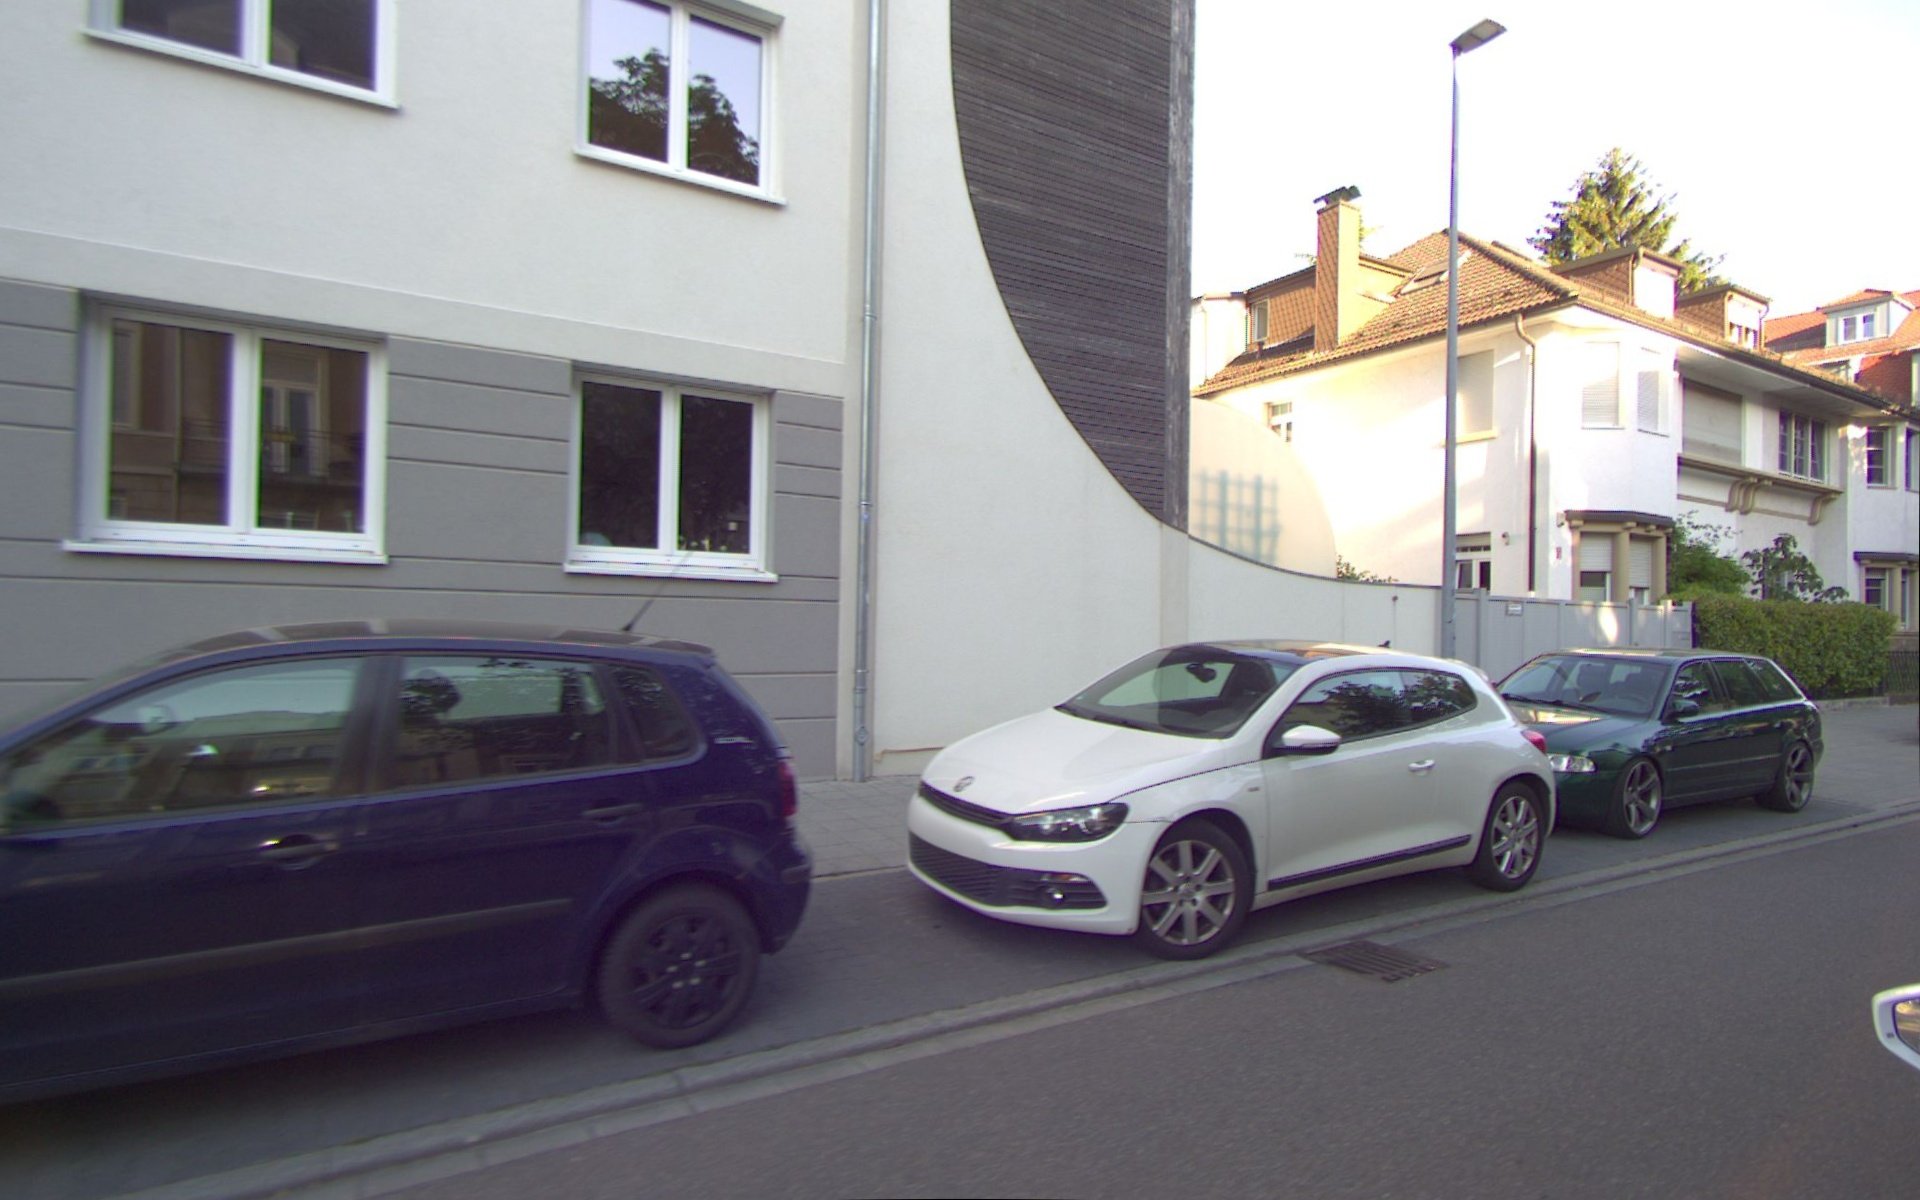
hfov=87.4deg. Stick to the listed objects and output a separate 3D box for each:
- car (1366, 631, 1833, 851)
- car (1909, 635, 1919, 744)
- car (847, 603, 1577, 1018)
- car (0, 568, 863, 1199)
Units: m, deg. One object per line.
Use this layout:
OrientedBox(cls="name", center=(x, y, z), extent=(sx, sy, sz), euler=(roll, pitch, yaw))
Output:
OrientedBox(cls="car", center=(5.598, 1.058, 8.687), extent=(4.094, 1.466, 1.749), euler=(2, -1, -31))
OrientedBox(cls="car", center=(15.767, 1.324, 14.644), extent=(4.606, 1.517, 1.843), euler=(2, -1, -34))
OrientedBox(cls="car", center=(1.586, 0.886, 5.823), extent=(4.047, 1.612, 1.873), euler=(2, -1, -33))
OrientedBox(cls="car", center=(-2.575, 0.746, 3.528), extent=(4.047, 1.612, 1.873), euler=(2, -1, -33))
